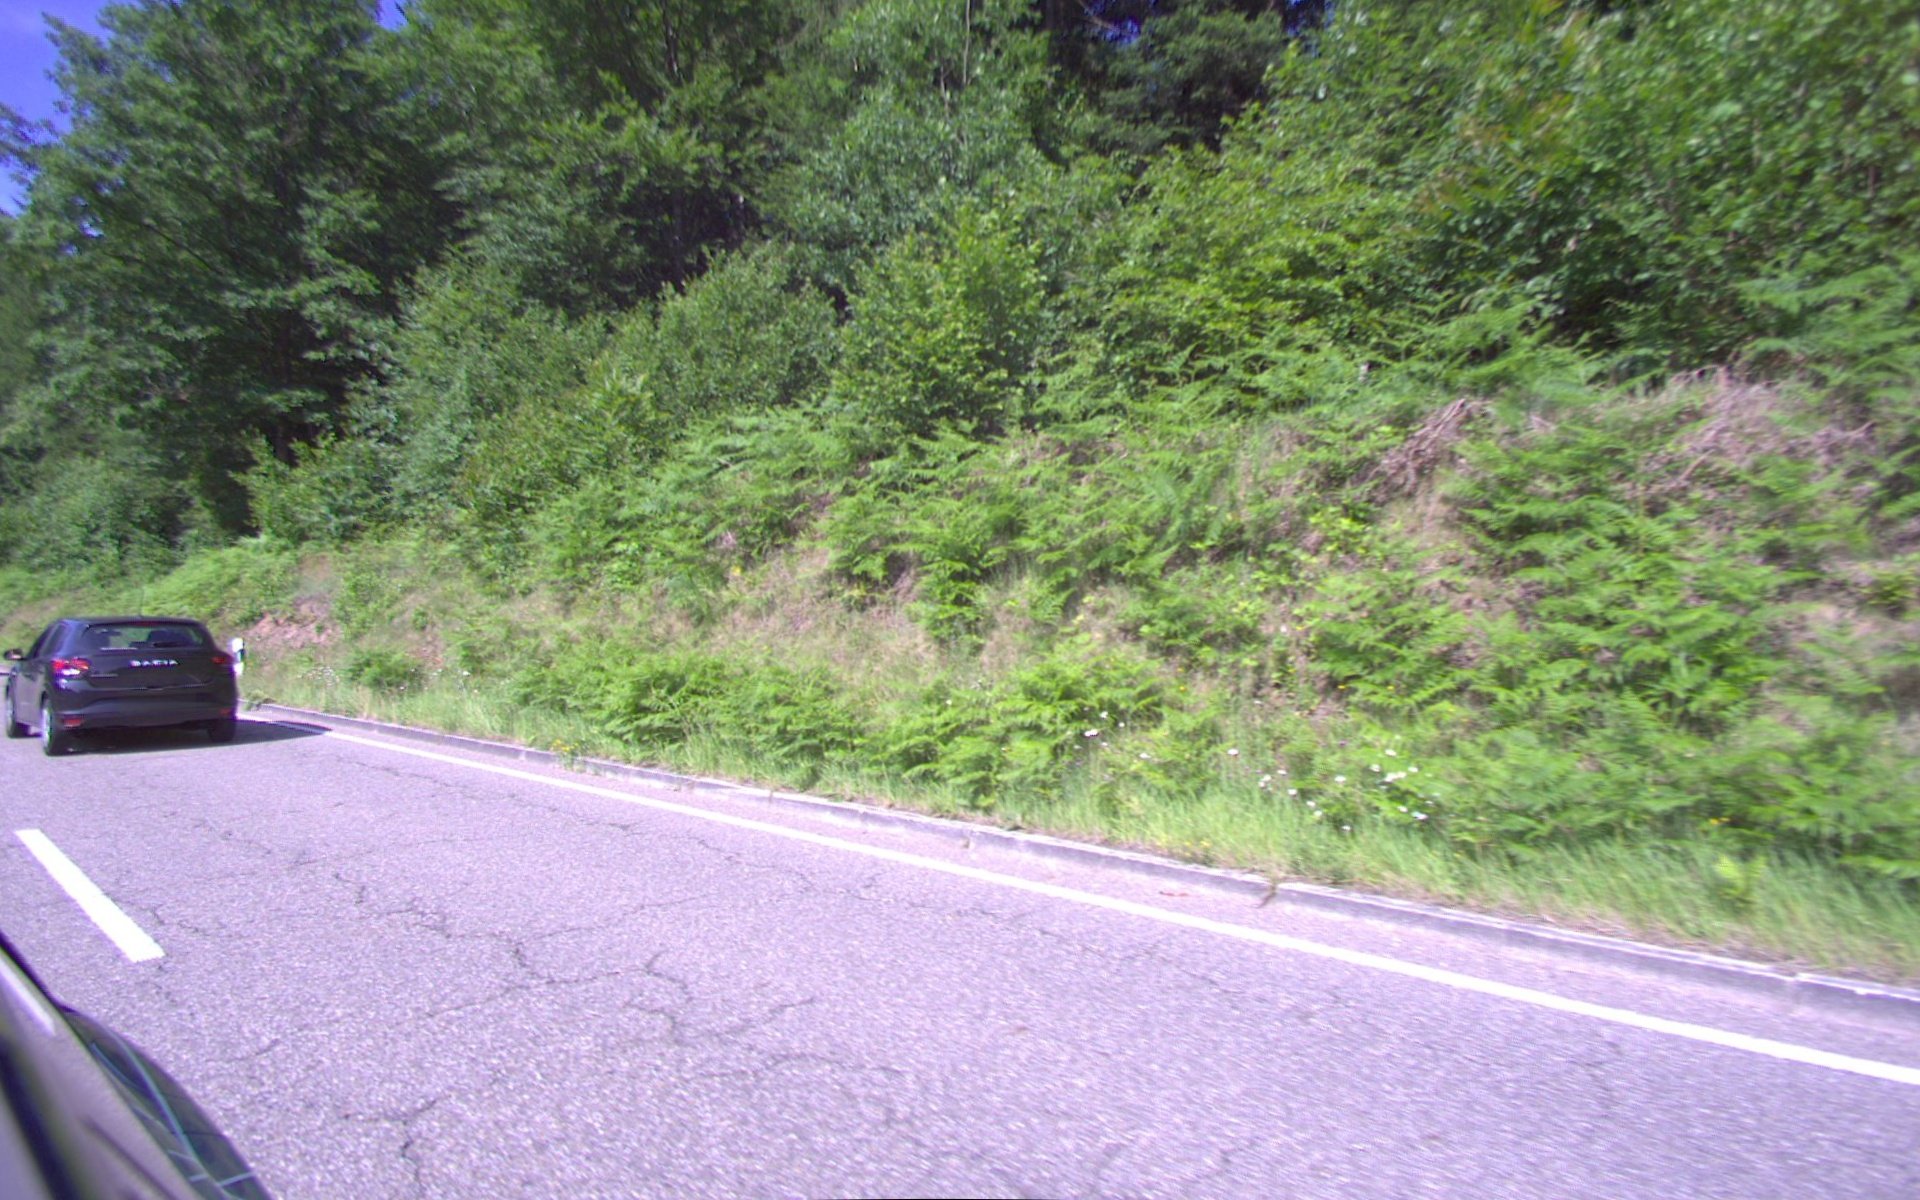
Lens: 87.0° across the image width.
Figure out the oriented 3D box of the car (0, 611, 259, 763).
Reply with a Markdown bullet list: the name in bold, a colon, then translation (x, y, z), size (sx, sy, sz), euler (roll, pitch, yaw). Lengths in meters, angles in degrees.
- **car**: translation (-10.220, 0.935, 12.276), size (3.997, 1.541, 1.838), euler (-1, -2, 40)
